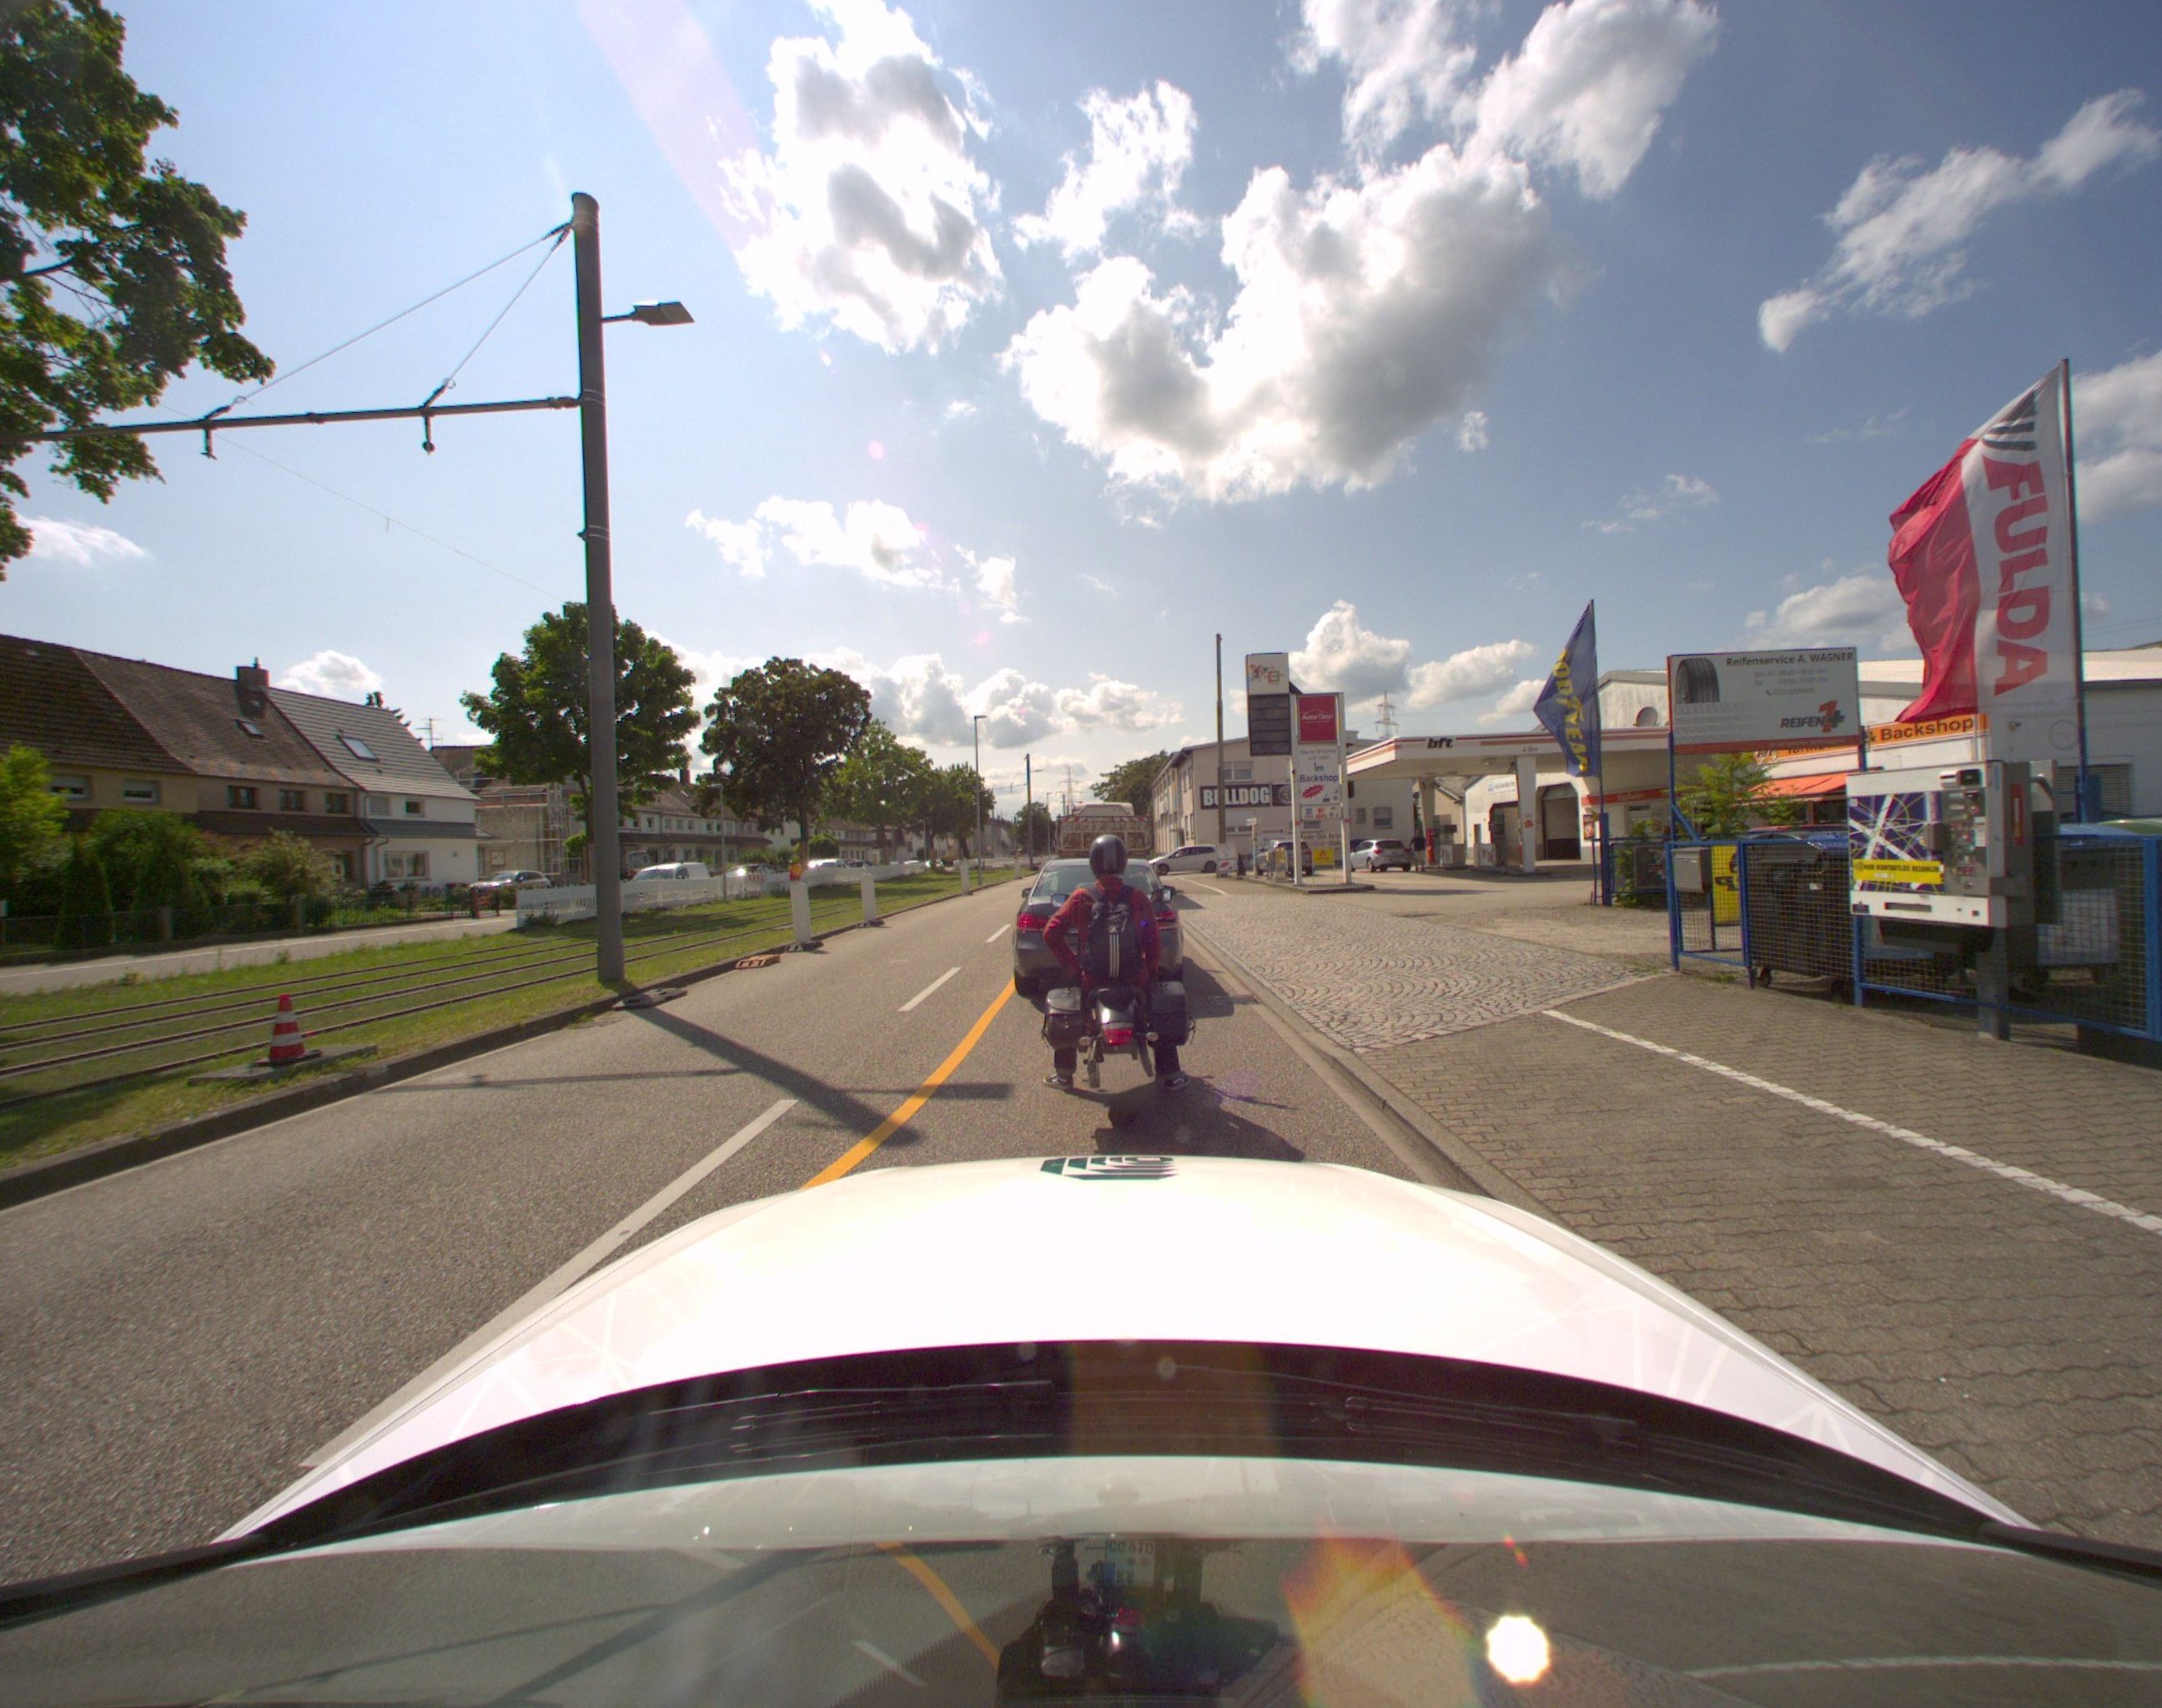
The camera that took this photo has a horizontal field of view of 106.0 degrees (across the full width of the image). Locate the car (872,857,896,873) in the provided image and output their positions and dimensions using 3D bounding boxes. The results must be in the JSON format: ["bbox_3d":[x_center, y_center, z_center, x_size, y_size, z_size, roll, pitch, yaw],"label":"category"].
[{"bbox_3d":[-24.045,1.329,99.350,1.692,1.739,4.064,-2,0,2],"label":"car"}]

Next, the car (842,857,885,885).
[{"bbox_3d":[-14.865,1.137,55.766,1.692,1.739,3.862,-2,0,2],"label":"car"}]

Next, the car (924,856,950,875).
[{"bbox_3d":[-14.143,1.146,80.007,1.692,1.739,3.862,-2,0,2],"label":"car"}]

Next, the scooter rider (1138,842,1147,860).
[{"bbox_3d":[6.359,-0.343,83.856,0.792,1.818,0.508,-2,0,1],"label":"scooter rider"}]

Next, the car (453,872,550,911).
[{"bbox_3d":[-27.477,1.729,38.801,1.692,1.593,3.862,-2,0,2],"label":"car"}]

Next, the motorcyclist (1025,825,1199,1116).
[{"bbox_3d":[0.195,0.655,5.203,0.966,1.633,1.215,-1,0,1],"label":"motorcyclist"}]

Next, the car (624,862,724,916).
[{"bbox_3d":[-15.416,1.277,31.064,1.692,1.817,3.862,-2,0,2],"label":"car"}]

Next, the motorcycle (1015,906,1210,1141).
[{"bbox_3d":[0.196,0.933,5.320,0.972,1.013,2.433,-1,0,2],"label":"motorcycle"}]

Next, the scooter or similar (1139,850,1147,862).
[{"bbox_3d":[6.384,0.217,83.801,0.792,1.144,1.520,-2,0,2],"label":"scooter or similar"}]

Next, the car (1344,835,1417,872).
[{"bbox_3d":[13.540,-0.025,37.076,1.826,1.479,4.009,-3,0,1],"label":"car"}]

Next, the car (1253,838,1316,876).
[{"bbox_3d":[9.070,0.120,36.583,1.826,1.536,4.009,-3,0,1],"label":"car"}]

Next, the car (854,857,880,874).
[{"bbox_3d":[-24.461,1.296,93.147,1.692,1.739,4.064,-2,0,2],"label":"car"}]

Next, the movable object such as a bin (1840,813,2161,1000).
[{"bbox_3d":[8.104,0.416,7.287,1.222,1.454,1.455,-2,0,0],"label":"movable object such as a bin"}]

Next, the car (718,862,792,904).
[{"bbox_3d":[-15.324,1.323,38.495,1.692,1.739,4.056,-2,0,2],"label":"car"}]

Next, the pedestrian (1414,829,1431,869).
[{"bbox_3d":[14.843,-0.211,35.395,0.628,1.683,0.626,-2,0,23],"label":"pedestrian"}]

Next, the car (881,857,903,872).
[{"bbox_3d":[-24.374,1.337,105.373,1.692,1.739,4.064,-2,0,2],"label":"car"}]

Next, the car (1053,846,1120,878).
[{"bbox_3d":[0.241,0.464,44.308,1.692,1.624,4.077,-2,0,-32],"label":"car"}]

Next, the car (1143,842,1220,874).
[{"bbox_3d":[5.768,0.225,47.056,4.100,1.624,1.682,-3,0,-7],"label":"car"}]

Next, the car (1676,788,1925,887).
[{"bbox_3d":[16.603,-0.372,18.968,3.972,2.013,2.001,-2,0,1],"label":"car"}]

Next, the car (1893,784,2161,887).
[{"bbox_3d":[21.250,-0.401,18.276,3.972,2.013,2.001,-2,0,1],"label":"car"}]

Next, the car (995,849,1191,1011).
[{"bbox_3d":[0.146,0.722,9.863,1.826,1.479,4.009,-3,0,1],"label":"car"}]

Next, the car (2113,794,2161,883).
[{"bbox_3d":[26.353,-0.434,18.191,3.972,2.013,2.001,-2,0,1],"label":"car"}]

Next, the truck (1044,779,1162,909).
[{"bbox_3d":[0.643,-0.282,25.611,2.960,3.304,8.407,-2,0,1],"label":"truck"}]

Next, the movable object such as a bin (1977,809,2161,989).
[{"bbox_3d":[9.450,0.336,7.197,1.425,1.454,1.455,-2,0,0],"label":"movable object such as a bin"}]

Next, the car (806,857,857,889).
[{"bbox_3d":[-15.079,1.109,49.399,1.692,1.739,3.862,-2,0,2],"label":"car"}]

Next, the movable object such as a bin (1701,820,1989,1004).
[{"bbox_3d":[6.825,0.471,7.411,1.222,1.454,1.455,-2,0,0],"label":"movable object such as a bin"}]
